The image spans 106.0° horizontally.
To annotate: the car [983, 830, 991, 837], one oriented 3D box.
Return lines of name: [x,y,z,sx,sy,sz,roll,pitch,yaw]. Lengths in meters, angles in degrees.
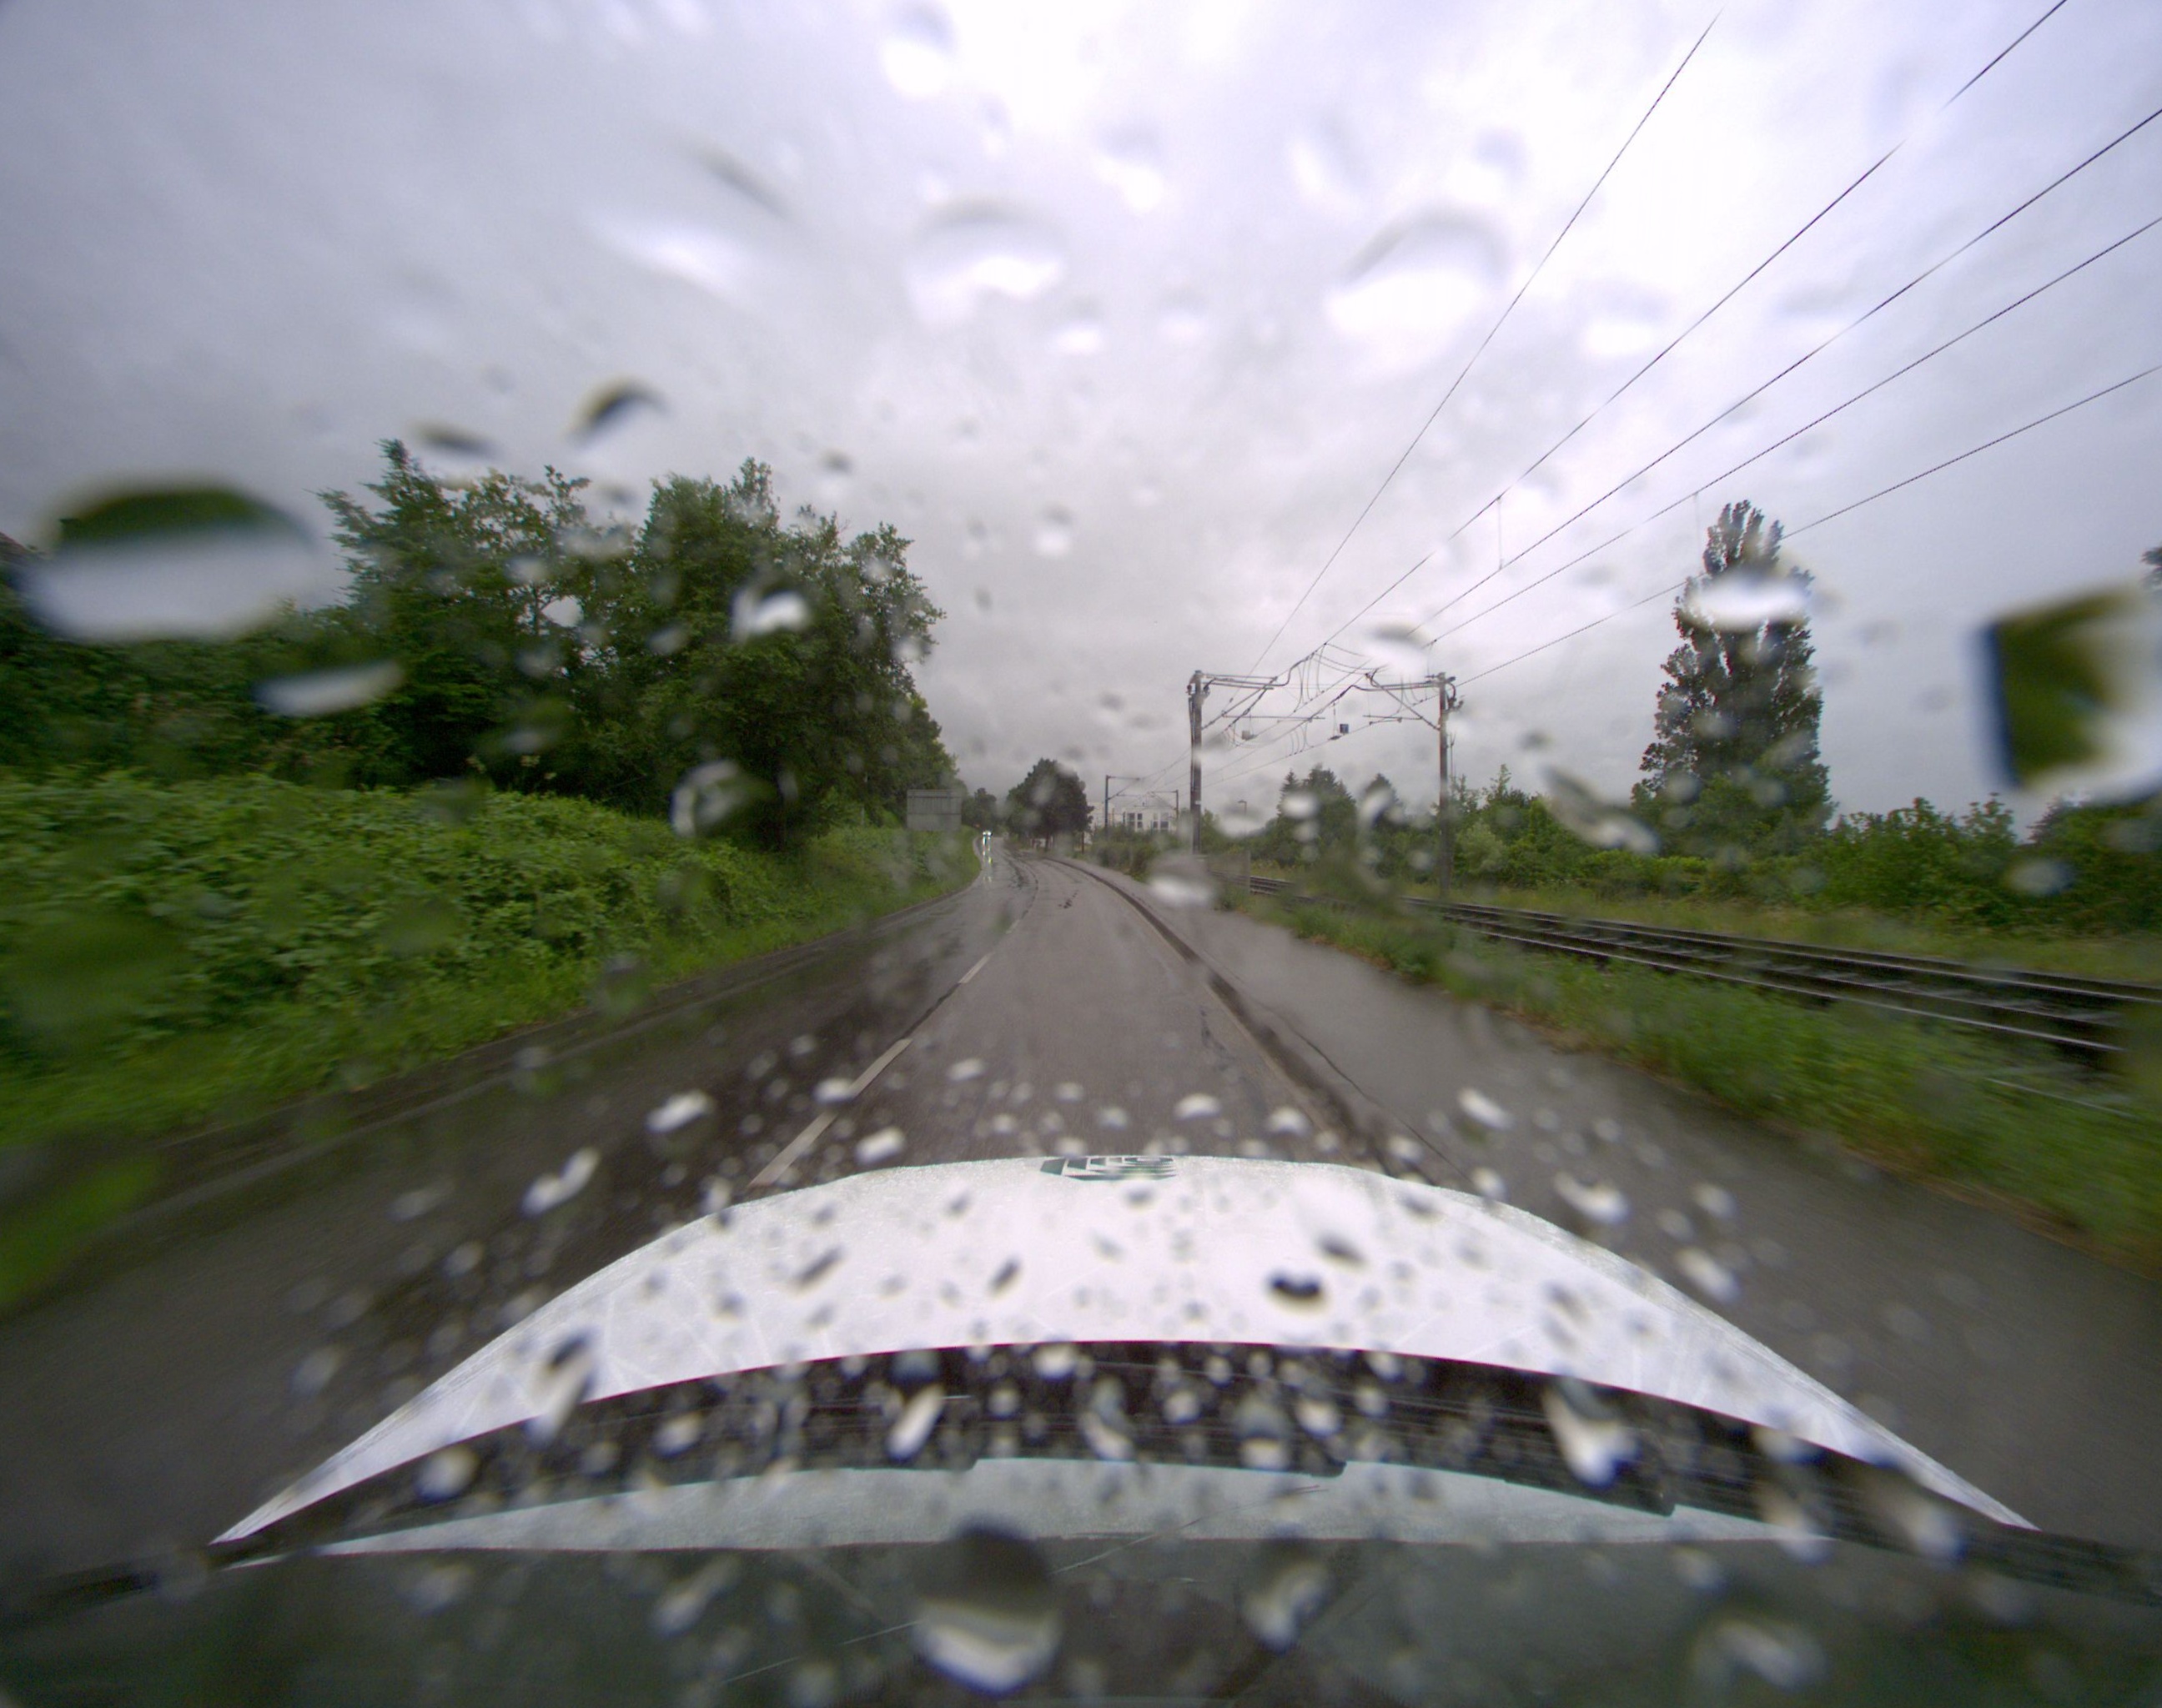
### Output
car: [-24.885,-5.454,215.026,1.741,1.611,4.083,1,2,-4]
